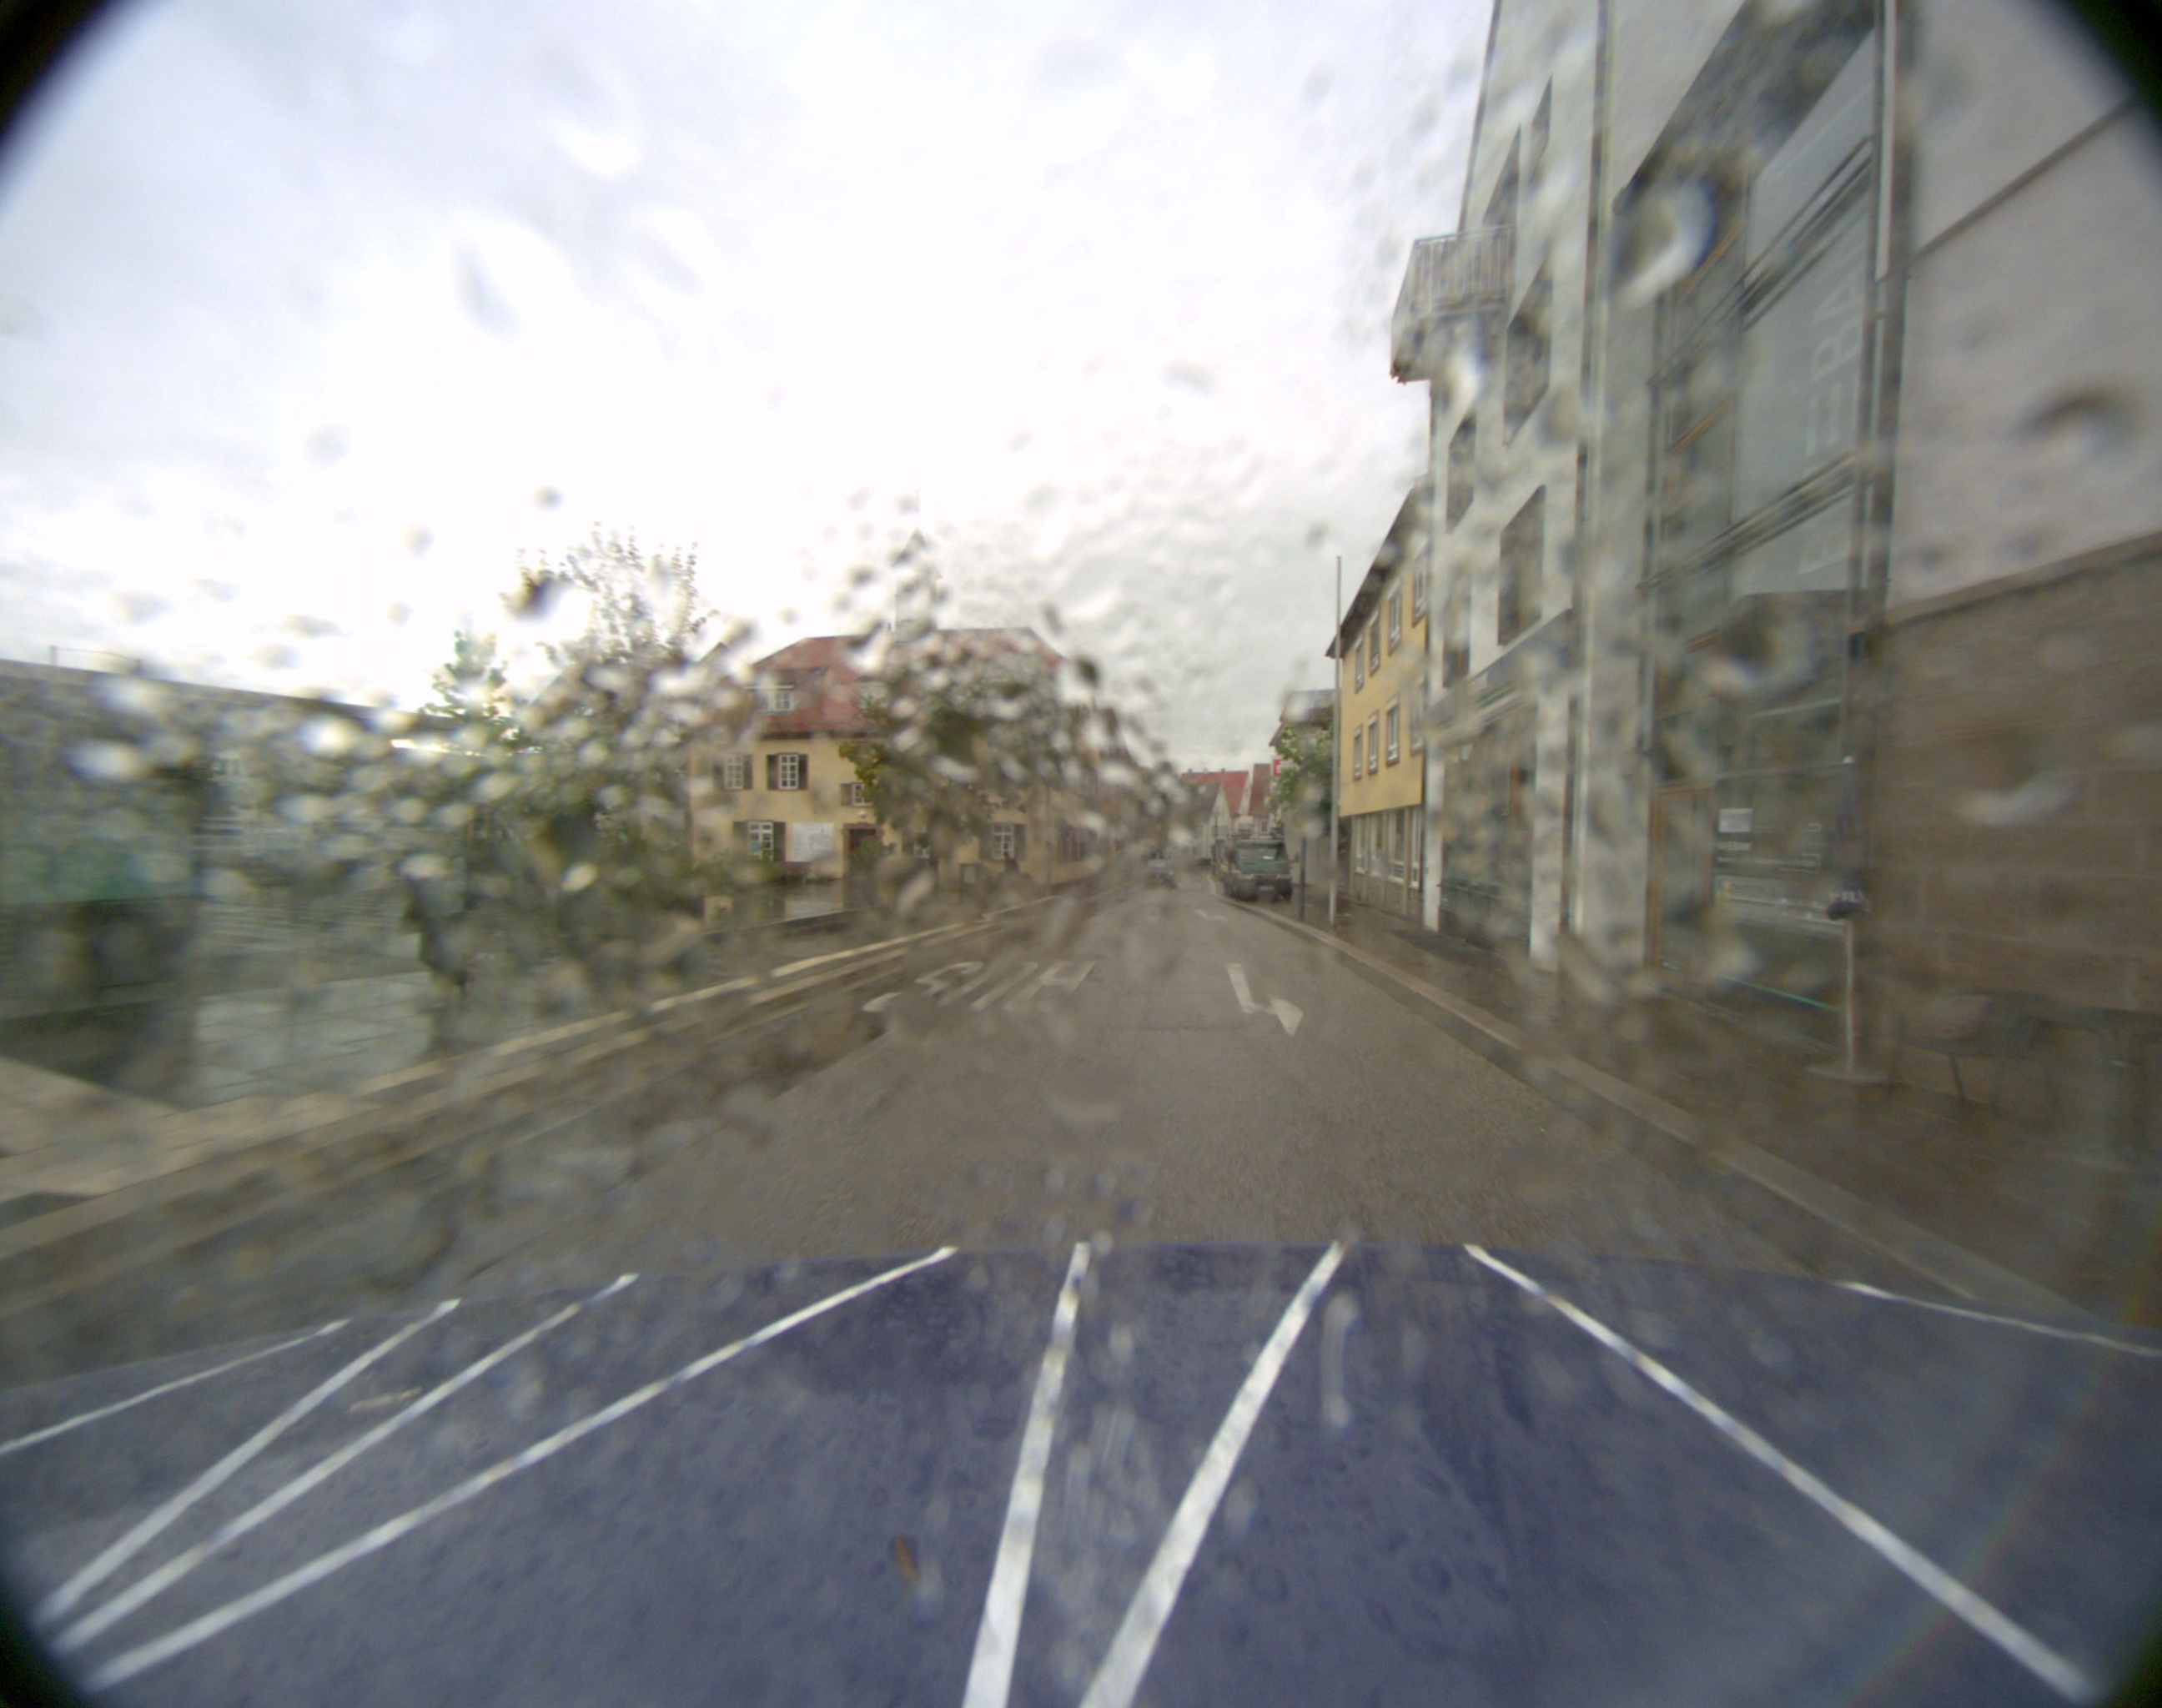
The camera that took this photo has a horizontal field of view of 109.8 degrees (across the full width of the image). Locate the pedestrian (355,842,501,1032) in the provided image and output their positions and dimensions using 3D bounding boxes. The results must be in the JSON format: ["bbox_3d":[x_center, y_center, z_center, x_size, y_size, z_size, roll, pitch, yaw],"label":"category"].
[{"bbox_3d":[-5.890,0.706,6.884,0.729,1.608,0.694,2,2,12],"label":"pedestrian"}]

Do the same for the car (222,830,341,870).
[{"bbox_3d":[-46.607,-0.244,44.422,1.995,2.205,4.383,2,1,21],"label":"car"}]

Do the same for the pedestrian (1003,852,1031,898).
[{"bbox_3d":[-2.410,0.794,28.709,0.866,1.683,0.717,1,0,12],"label":"pedestrian"}]

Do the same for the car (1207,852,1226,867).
[{"bbox_3d":[13.879,0.529,77.808,1.693,1.477,4.002,1,1,8],"label":"car"}]

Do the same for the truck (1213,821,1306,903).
[{"bbox_3d":[6.748,0.293,29.588,2.479,2.778,6.602,2,0,4],"label":"truck"}]

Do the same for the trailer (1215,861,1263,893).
[{"bbox_3d":[7.109,0.995,34.488,1.731,1.338,3.162,2,0,4],"label":"trailer"}]

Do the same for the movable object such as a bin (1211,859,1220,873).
[{"bbox_3d":[10.860,0.987,61.183,0.659,1.090,0.613,2,2,12],"label":"movable object such as a bin"}]

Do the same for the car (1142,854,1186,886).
[{"bbox_3d":[4.405,0.857,39.966,1.734,1.546,3.850,2,-1,14],"label":"car"}]

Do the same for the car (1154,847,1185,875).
[{"bbox_3d":[6.147,0.478,52.418,1.997,1.892,4.003,0,0,8],"label":"car"}]
